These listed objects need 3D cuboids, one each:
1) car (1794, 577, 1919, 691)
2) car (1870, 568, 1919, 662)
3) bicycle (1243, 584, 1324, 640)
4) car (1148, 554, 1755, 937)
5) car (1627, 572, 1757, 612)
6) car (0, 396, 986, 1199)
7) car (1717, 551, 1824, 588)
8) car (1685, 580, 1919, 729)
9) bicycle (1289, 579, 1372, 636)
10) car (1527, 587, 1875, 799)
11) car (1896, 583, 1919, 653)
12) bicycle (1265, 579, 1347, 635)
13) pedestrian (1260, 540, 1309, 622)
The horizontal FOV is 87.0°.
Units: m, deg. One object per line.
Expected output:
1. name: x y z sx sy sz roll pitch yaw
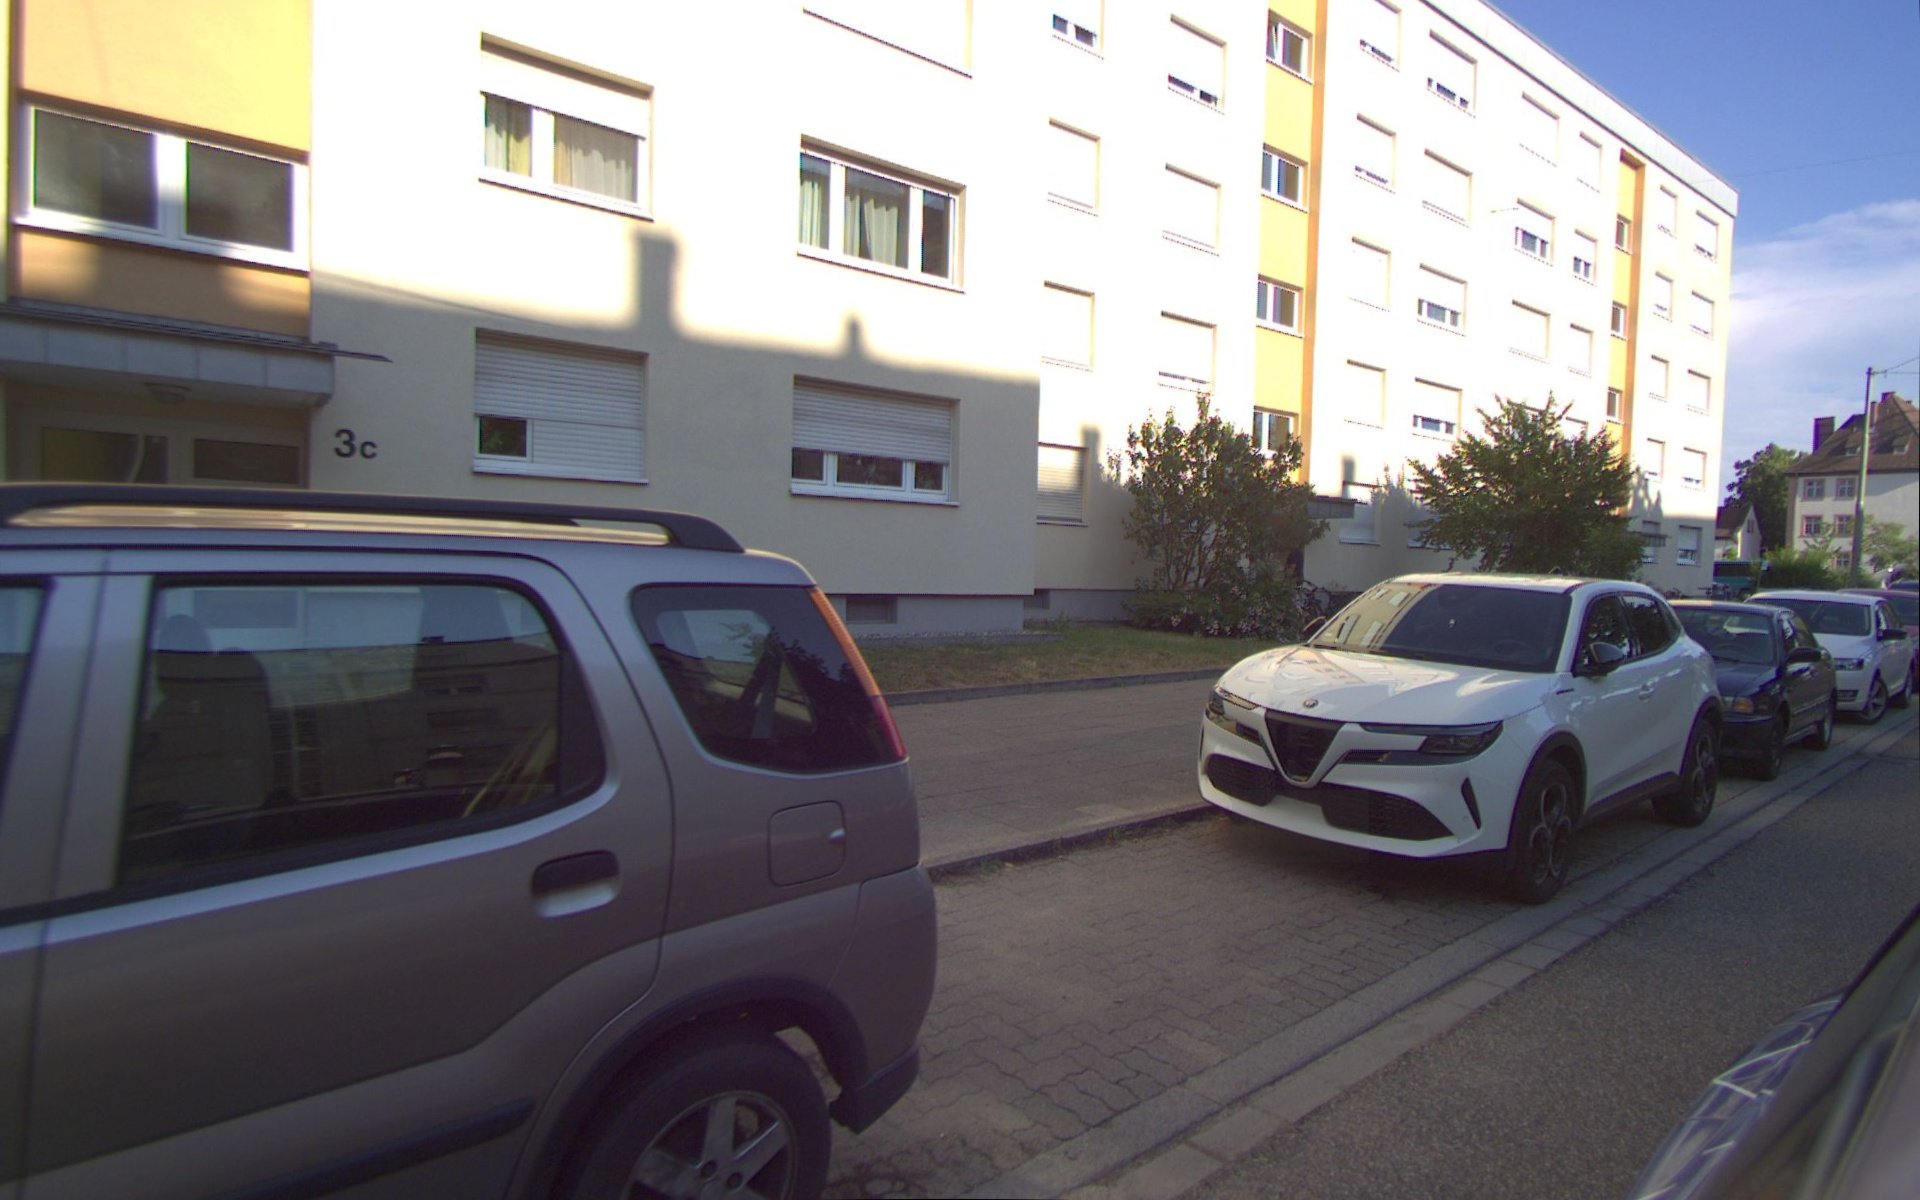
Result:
1. car: 15.100 0.458 16.425 3.930 1.637 1.775 -2 1 -40
2. car: 19.633 0.249 20.035 4.565 1.698 1.776 -2 4 -41
3. bicycle: 5.990 0.204 18.676 1.757 0.953 0.439 -2 1 -35
4. car: 3.104 0.504 6.027 3.932 1.459 1.877 -2 5 -42
5. car: 33.431 -0.416 46.356 1.700 1.621 4.492 -1 4 -37
6. car: -2.190 0.506 1.672 4.204 1.624 1.967 -2 5 -40
7. car: 41.748 -1.559 52.159 1.964 1.816 3.995 -1 1 -39
8. car: 10.759 0.539 12.701 3.930 1.471 1.776 -2 4 -40
9. bicycle: 6.568 0.110 17.914 1.757 0.953 0.439 -2 1 -35
10. car: 6.951 0.651 9.319 4.238 1.456 1.664 -2 1 -41
11. car: 22.987 0.365 23.053 3.926 1.527 1.776 -2 1 -37
12. bicycle: 6.275 0.108 18.294 1.757 0.953 0.439 -2 1 -35
13. pedestrian: 6.937 -0.419 21.617 0.527 1.678 0.768 -1 4 -40
